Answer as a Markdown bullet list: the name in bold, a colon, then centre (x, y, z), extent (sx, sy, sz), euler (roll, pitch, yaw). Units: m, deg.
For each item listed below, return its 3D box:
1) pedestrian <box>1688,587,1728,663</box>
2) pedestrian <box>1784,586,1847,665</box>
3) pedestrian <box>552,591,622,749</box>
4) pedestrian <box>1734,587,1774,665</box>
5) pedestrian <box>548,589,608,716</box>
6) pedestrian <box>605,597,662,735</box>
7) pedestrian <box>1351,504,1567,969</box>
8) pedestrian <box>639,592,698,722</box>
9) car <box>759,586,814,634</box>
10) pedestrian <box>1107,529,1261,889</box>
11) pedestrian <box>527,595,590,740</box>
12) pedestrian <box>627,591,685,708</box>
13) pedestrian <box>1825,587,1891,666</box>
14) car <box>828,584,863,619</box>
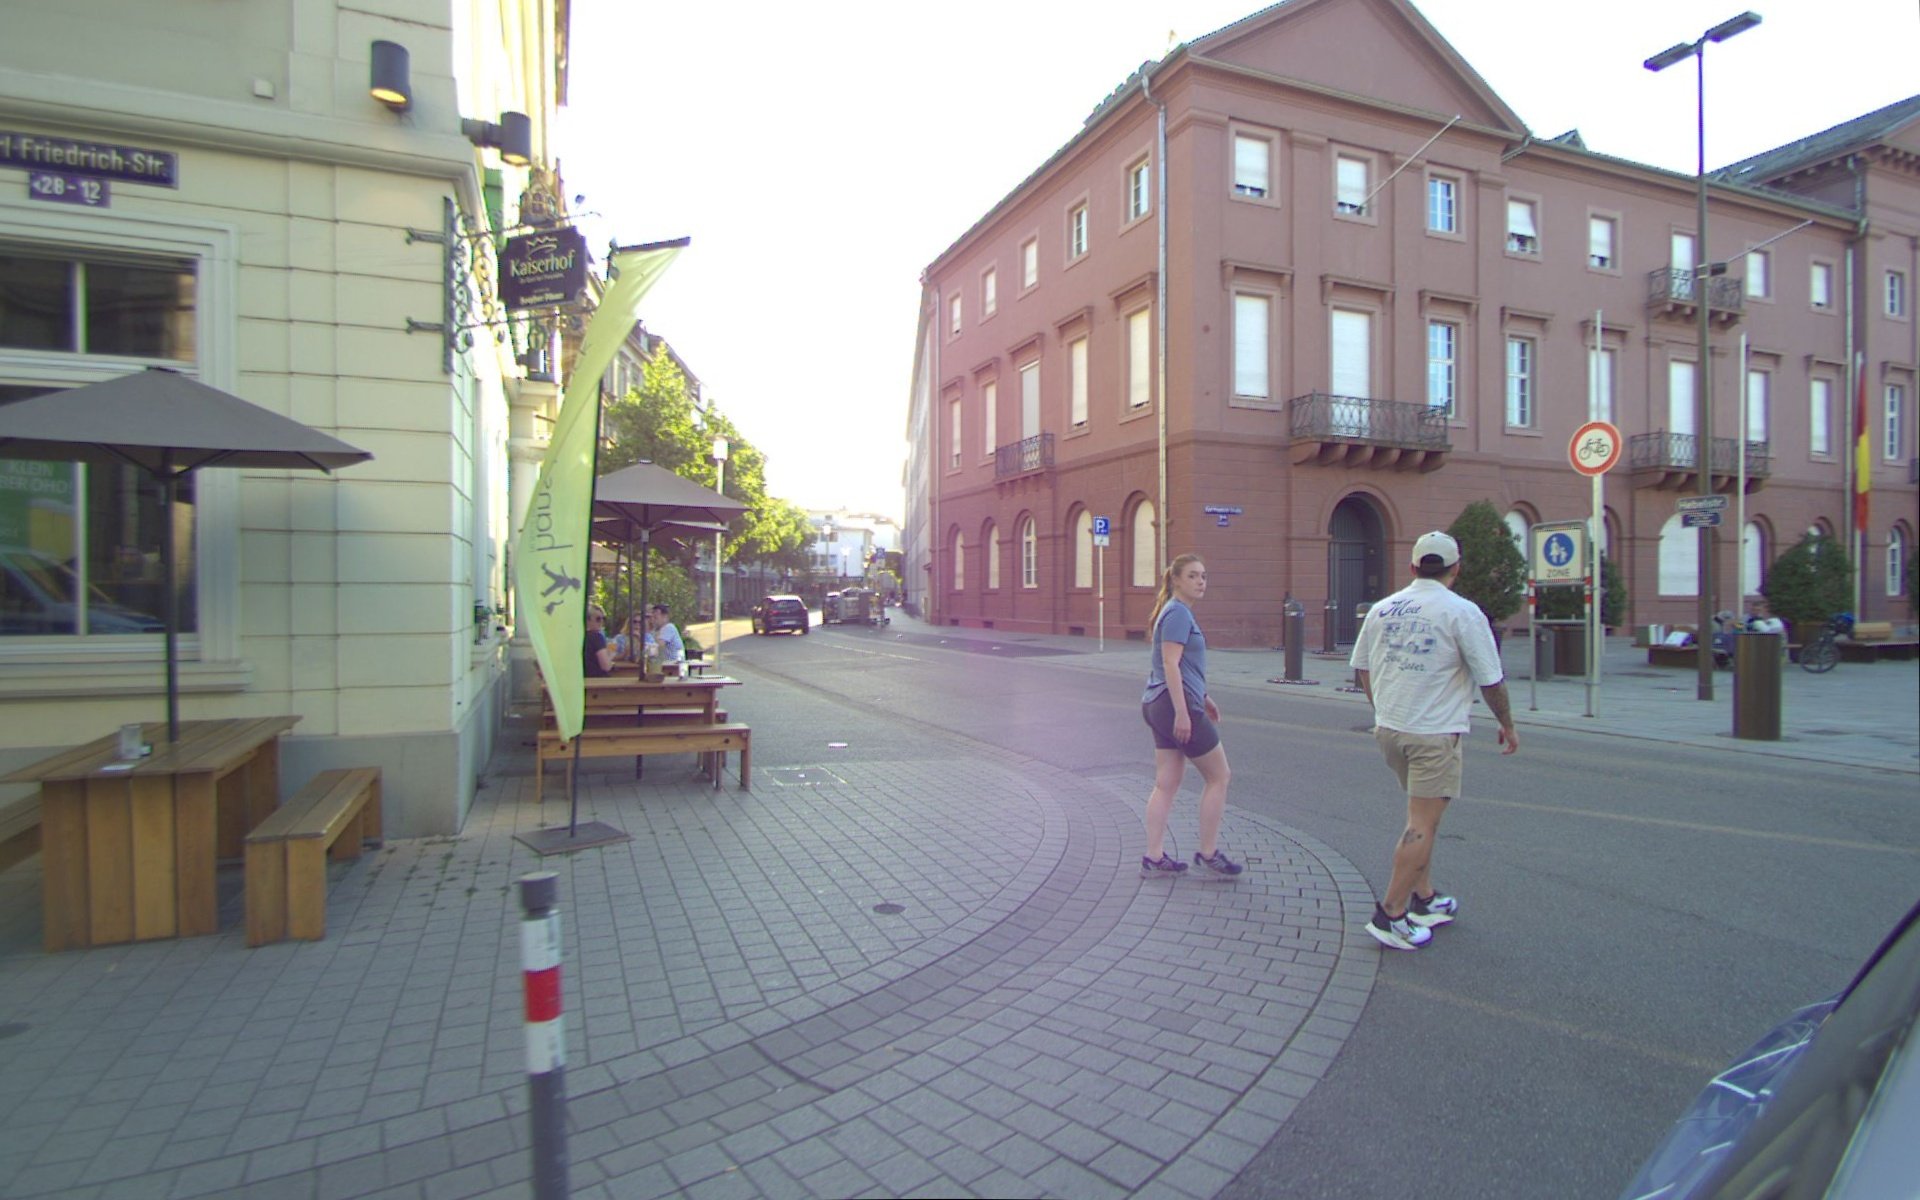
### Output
- **pedestrian**: centre (14.662, 0.469, 19.832), extent (0.581, 1.466, 0.819), euler (0, 0, 40)
- **pedestrian**: centre (16.249, 0.475, 19.240), extent (0.575, 1.466, 0.828), euler (0, 0, 11)
- **pedestrian**: centre (-3.430, 0.618, 9.340), extent (0.576, 1.394, 0.616), euler (0, 0, -18)
- **pedestrian**: centre (15.320, 0.479, 19.524), extent (0.581, 1.466, 0.819), euler (0, 0, 40)
- **pedestrian**: centre (-4.559, 0.602, 12.071), extent (0.609, 1.467, 0.500), euler (0, 0, -29)
- **pedestrian**: centre (-3.347, 0.654, 10.370), extent (0.514, 1.353, 0.504), euler (0, 0, -23)
- **pedestrian**: centre (2.053, 0.507, 4.263), extent (0.757, 1.752, 0.664), euler (0, 0, 22)
- **pedestrian**: centre (-3.277, 0.620, 11.371), extent (0.542, 1.404, 0.578), euler (0, 0, -26)
- **car**: centre (-6.702, 0.334, 38.868), extent (1.809, 1.615, 4.008), euler (-3, 2, -12)
- **pedestrian**: centre (1.192, 0.526, 5.335), extent (0.709, 1.752, 0.605), euler (0, 0, 22)
- **pedestrian**: centre (-4.008, 0.651, 10.116), extent (0.567, 1.386, 0.529), euler (0, 0, -21)
- **pedestrian**: centre (-3.780, 0.593, 12.574), extent (0.668, 1.420, 0.545), euler (0, 0, -19)
- **pedestrian**: centre (17.020, 0.485, 19.206), extent (0.574, 1.466, 0.828), euler (0, 0, 9)
- **car**: centre (-5.230, 0.065, 46.357), extent (1.539, 1.541, 3.061), euler (0, 1, -5)
